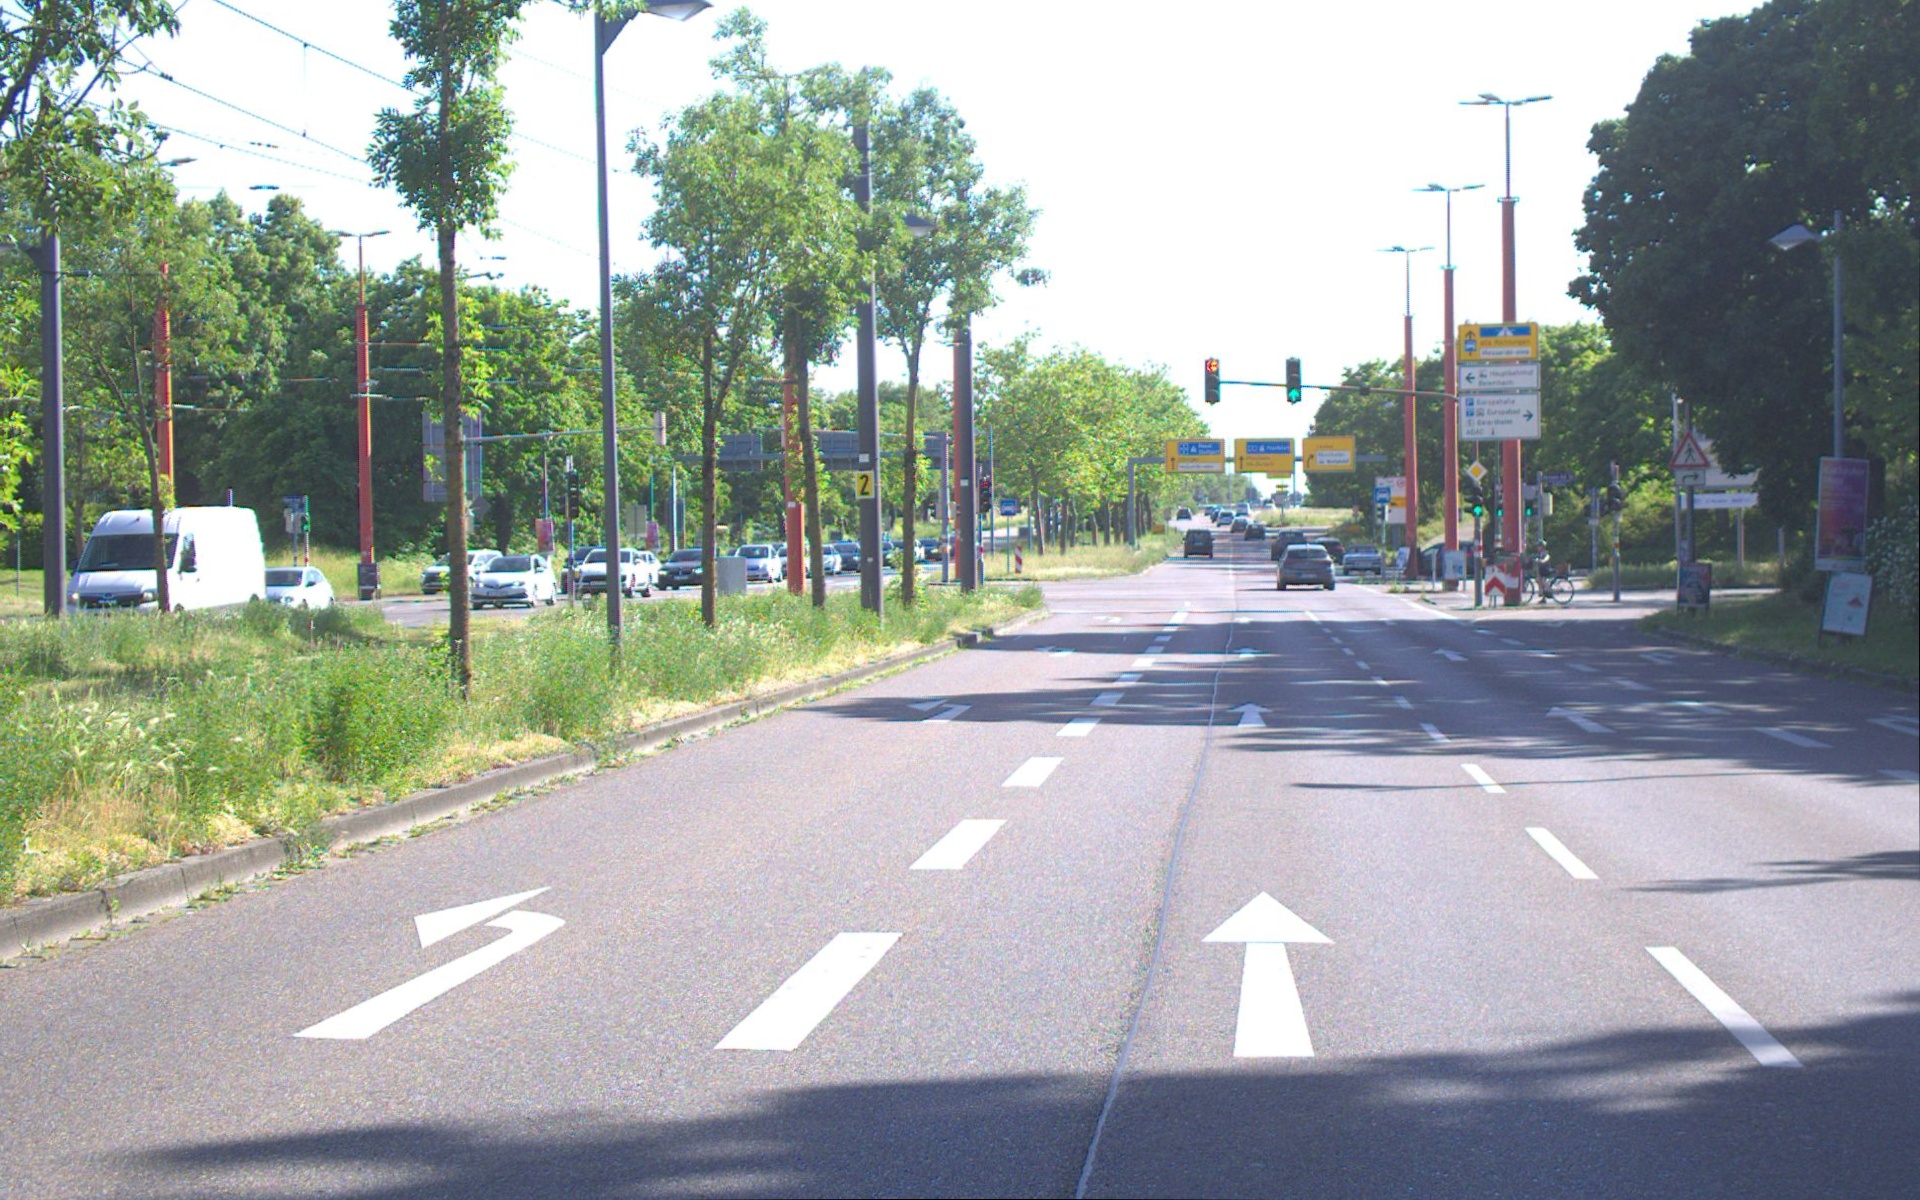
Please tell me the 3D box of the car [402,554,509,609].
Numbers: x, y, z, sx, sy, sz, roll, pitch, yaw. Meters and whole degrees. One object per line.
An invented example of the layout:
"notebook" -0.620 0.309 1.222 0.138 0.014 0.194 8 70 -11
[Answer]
"car" -19.086 -0.706 130.165 1.996 2.007 4.402 0 1 23

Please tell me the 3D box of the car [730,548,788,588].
"car" -8.159 -1.316 139.886 1.763 1.603 3.757 -1 1 5

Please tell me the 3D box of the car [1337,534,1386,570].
"car" 17.907 -2.138 153.500 1.994 1.535 3.999 1 1 5

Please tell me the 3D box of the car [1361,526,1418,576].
"car" 16.262 -1.855 130.326 1.994 1.881 3.999 0 1 5

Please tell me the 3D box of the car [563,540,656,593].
"car" -11.109 -1.080 109.255 1.895 1.616 4.655 1 1 7

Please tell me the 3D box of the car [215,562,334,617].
"car" -16.802 -0.268 84.454 1.798 1.288 3.999 1 1 5

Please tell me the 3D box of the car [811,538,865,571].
"car" -5.995 -2.248 169.761 1.994 1.589 4.463 -1 1 6

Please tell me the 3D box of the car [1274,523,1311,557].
"car" 20.018 -3.628 207.212 2.155 2.007 4.000 0 1 5

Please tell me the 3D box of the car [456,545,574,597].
"car" -12.387 -0.812 95.971 1.900 1.393 4.541 1 1 11

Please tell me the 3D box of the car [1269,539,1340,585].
"car" 11.209 -1.244 111.980 1.993 1.491 4.000 0 1 1

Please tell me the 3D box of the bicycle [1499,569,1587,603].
"bicycle" 15.120 -0.366 89.132 2.161 0.875 0.560 0 1 -6

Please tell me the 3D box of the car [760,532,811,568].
"car" -7.658 -2.220 151.424 1.589 1.467 4.182 -2 2 6

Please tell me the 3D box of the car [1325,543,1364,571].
"car" 21.321 -2.402 190.671 1.994 1.535 3.999 0 1 5

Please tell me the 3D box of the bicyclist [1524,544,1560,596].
"bicyclist" 15.087 -0.773 89.116 0.739 1.337 0.708 0 1 -5

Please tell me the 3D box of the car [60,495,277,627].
"car" -14.902 -0.749 65.185 2.040 2.361 6.879 1 1 4

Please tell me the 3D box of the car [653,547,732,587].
"car" -9.740 -1.208 125.594 1.994 1.404 4.989 1 1 6

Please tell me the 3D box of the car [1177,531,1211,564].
"car" 14.711 -3.309 216.118 1.994 2.007 4.000 1 1 3

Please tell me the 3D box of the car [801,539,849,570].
"car" -6.314 -2.135 161.053 1.704 1.418 4.642 -1 1 4
